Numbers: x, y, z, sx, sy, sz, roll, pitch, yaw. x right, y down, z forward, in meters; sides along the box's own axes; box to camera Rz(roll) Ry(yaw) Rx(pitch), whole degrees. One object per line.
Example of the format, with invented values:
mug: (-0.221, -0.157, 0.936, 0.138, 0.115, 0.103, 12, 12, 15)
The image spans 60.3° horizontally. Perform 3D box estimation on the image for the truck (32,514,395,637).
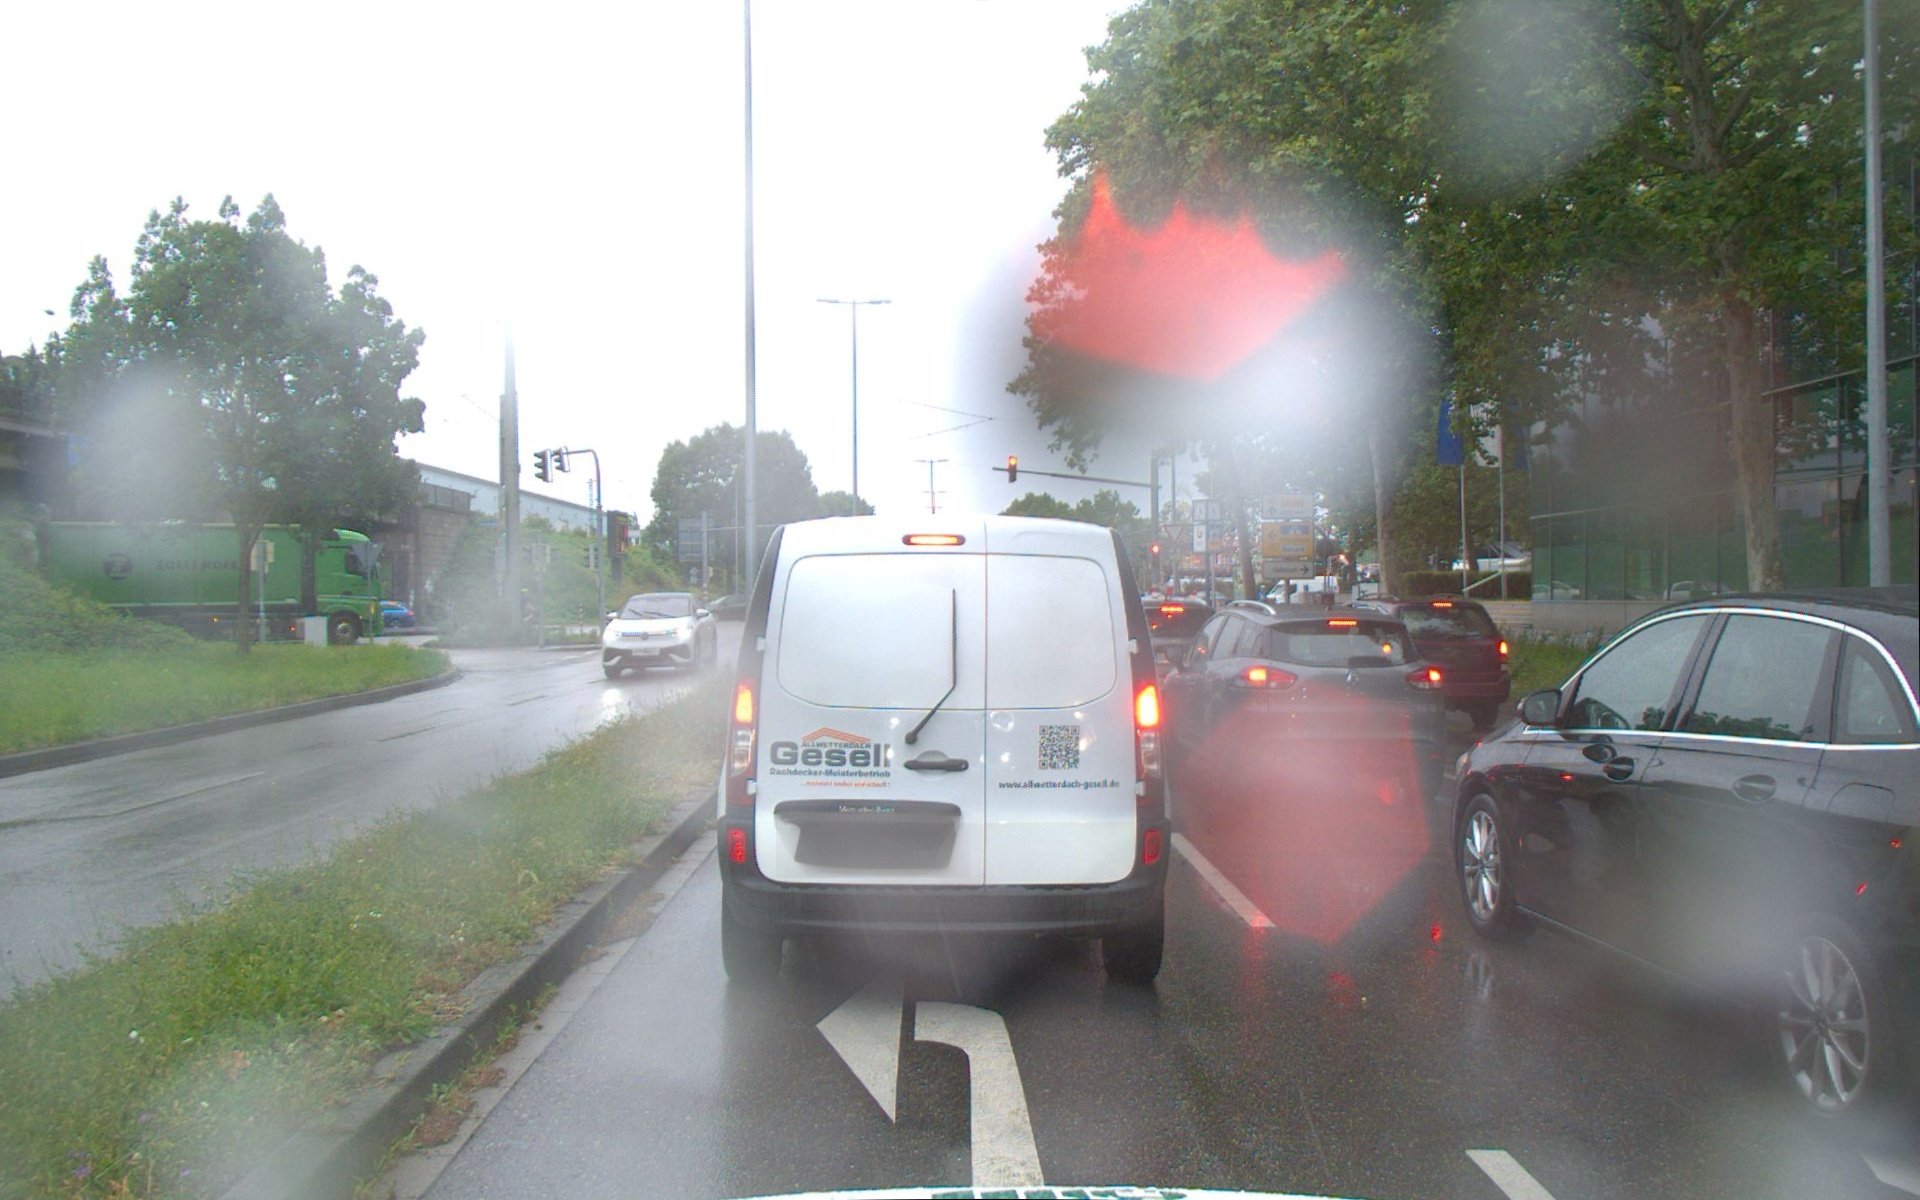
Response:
truck: (-23.178, -0.624, 51.866, 10.038, 3.512, 2.622, 1, -2, -38)

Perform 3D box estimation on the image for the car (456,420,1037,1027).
car: (-0.802, 0.411, 7.630, 1.953, 2.049, 3.998, 0, 0, -3)

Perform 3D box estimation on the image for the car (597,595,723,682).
car: (-6.048, 0.728, 33.846, 1.923, 1.551, 4.332, -2, 1, -3)

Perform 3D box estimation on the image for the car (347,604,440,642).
car: (-26.195, 1.036, 76.483, 3.888, 1.551, 1.760, -2, 1, -27)

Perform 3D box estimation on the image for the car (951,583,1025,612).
car: (1.610, -0.151, 94.502, 3.954, 1.613, 1.697, -1, 0, -35)

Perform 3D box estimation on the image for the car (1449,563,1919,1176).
car: (3.234, 0.666, 5.851, 1.674, 1.577, 3.998, 0, 1, -3)

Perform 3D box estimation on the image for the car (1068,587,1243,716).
car: (2.380, 0.576, 21.009, 1.677, 1.470, 3.999, 0, 1, -1)

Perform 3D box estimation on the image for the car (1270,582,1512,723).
car: (5.206, 0.595, 20.538, 1.802, 1.563, 4.110, 1, 0, -2)

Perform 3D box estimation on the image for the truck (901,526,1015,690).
truck: (-0.102, 0.129, 27.467, 1.721, 2.509, 3.998, 0, 0, -3)

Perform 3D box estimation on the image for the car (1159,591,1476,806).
car: (2.740, 0.675, 13.545, 1.677, 1.470, 3.999, 0, 1, -1)

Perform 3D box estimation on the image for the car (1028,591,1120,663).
car: (2.460, 0.547, 36.422, 1.677, 1.470, 3.999, 0, 1, -1)

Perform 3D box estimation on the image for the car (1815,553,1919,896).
car: (5.875, 0.644, 7.395, 1.819, 1.756, 4.188, 1, 0, -2)
